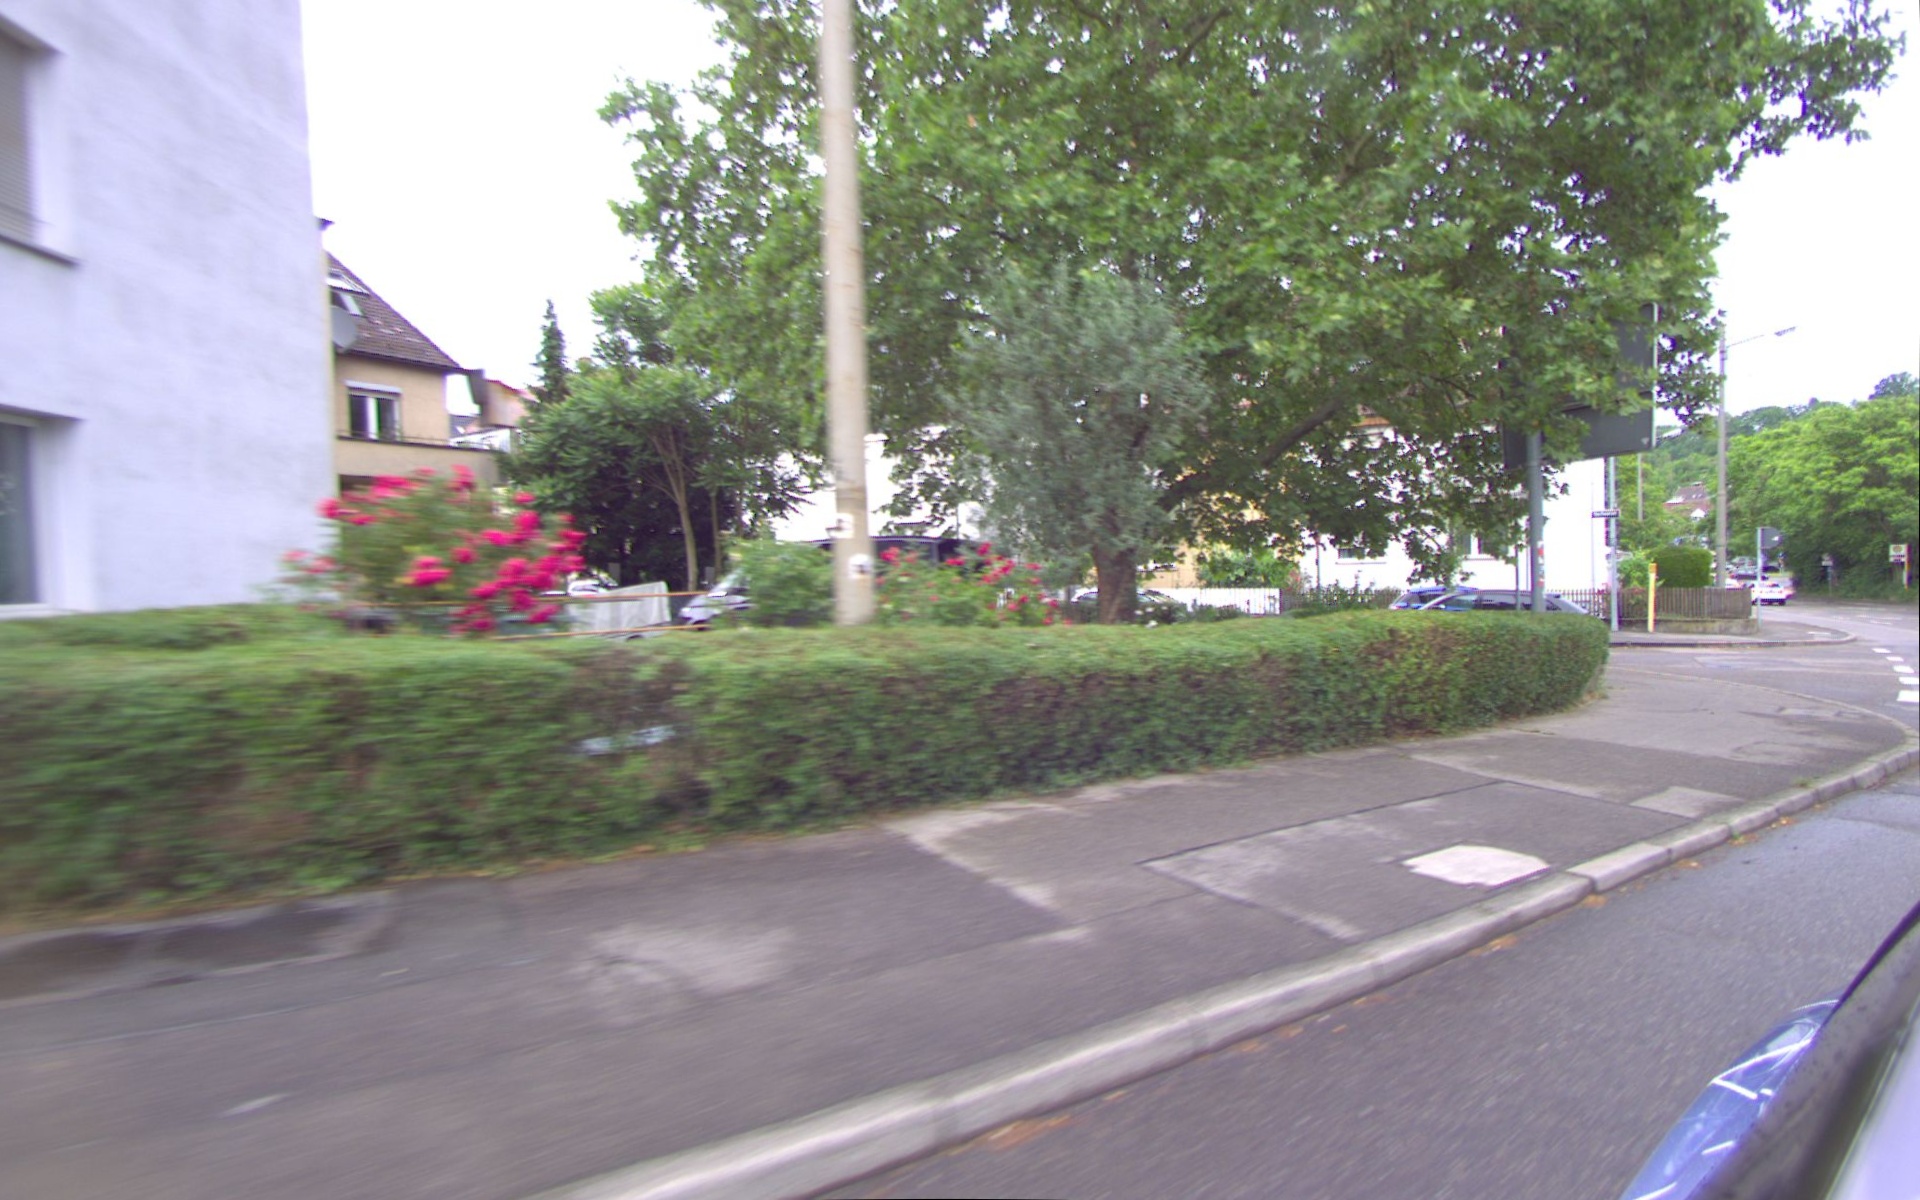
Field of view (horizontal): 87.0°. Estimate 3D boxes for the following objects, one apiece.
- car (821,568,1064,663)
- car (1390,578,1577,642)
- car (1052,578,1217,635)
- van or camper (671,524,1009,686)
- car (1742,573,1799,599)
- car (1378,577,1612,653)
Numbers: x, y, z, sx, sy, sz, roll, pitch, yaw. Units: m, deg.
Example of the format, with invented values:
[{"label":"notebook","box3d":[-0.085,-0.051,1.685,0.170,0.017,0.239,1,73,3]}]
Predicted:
[{"label":"car","box3d":[-0.369,0.230,17.815,3.980,1.482,1.972,0,1,39]},{"label":"car","box3d":[12.817,0.192,24.995,3.961,1.482,1.844,1,1,27]},{"label":"car","box3d":[5.069,0.156,29.472,4.357,1.532,1.978,0,1,31]},{"label":"van or camper","box3d":[-1.677,0.041,13.938,4.287,1.928,1.981,0,0,28]},{"label":"car","box3d":[52.010,-0.891,65.015,1.825,1.577,5.519,0,1,28]},{"label":"car","box3d":[11.603,0.282,22.224,4.351,1.532,1.981,0,1,28]}]
